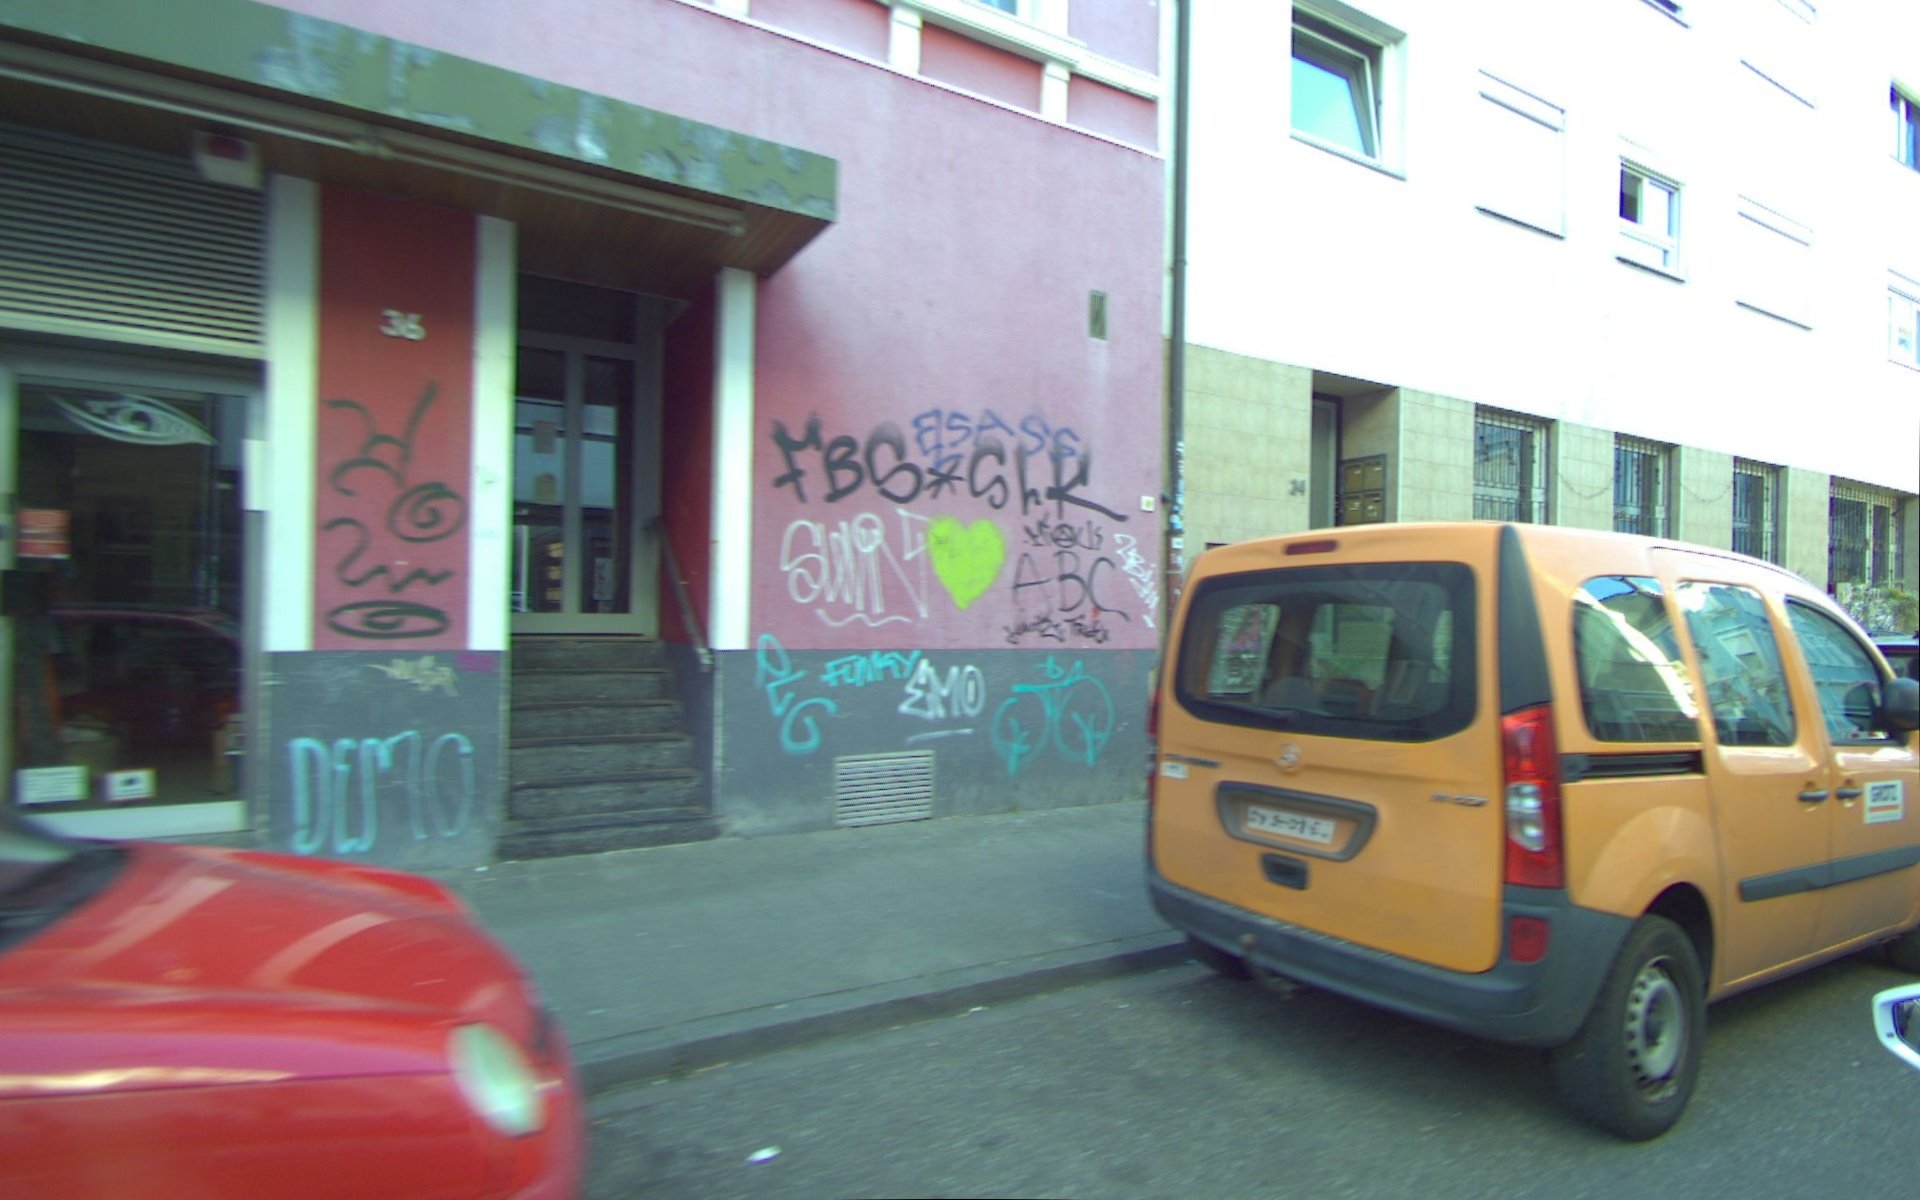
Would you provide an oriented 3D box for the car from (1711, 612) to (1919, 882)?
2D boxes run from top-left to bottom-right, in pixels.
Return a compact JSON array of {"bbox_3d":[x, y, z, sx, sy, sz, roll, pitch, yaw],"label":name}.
[{"bbox_3d":[7.296,0.924,7.067,4.269,1.557,1.742,2,-2,-31],"label":"car"}]

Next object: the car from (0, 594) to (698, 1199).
[{"bbox_3d":[-2.348,0.740,1.429,3.524,1.503,1.571,2,-3,-31],"label":"car"}]

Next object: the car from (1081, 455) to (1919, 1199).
[{"bbox_3d":[2.637,0.668,4.217,4.032,1.840,1.744,2,-3,-31],"label":"car"}]
